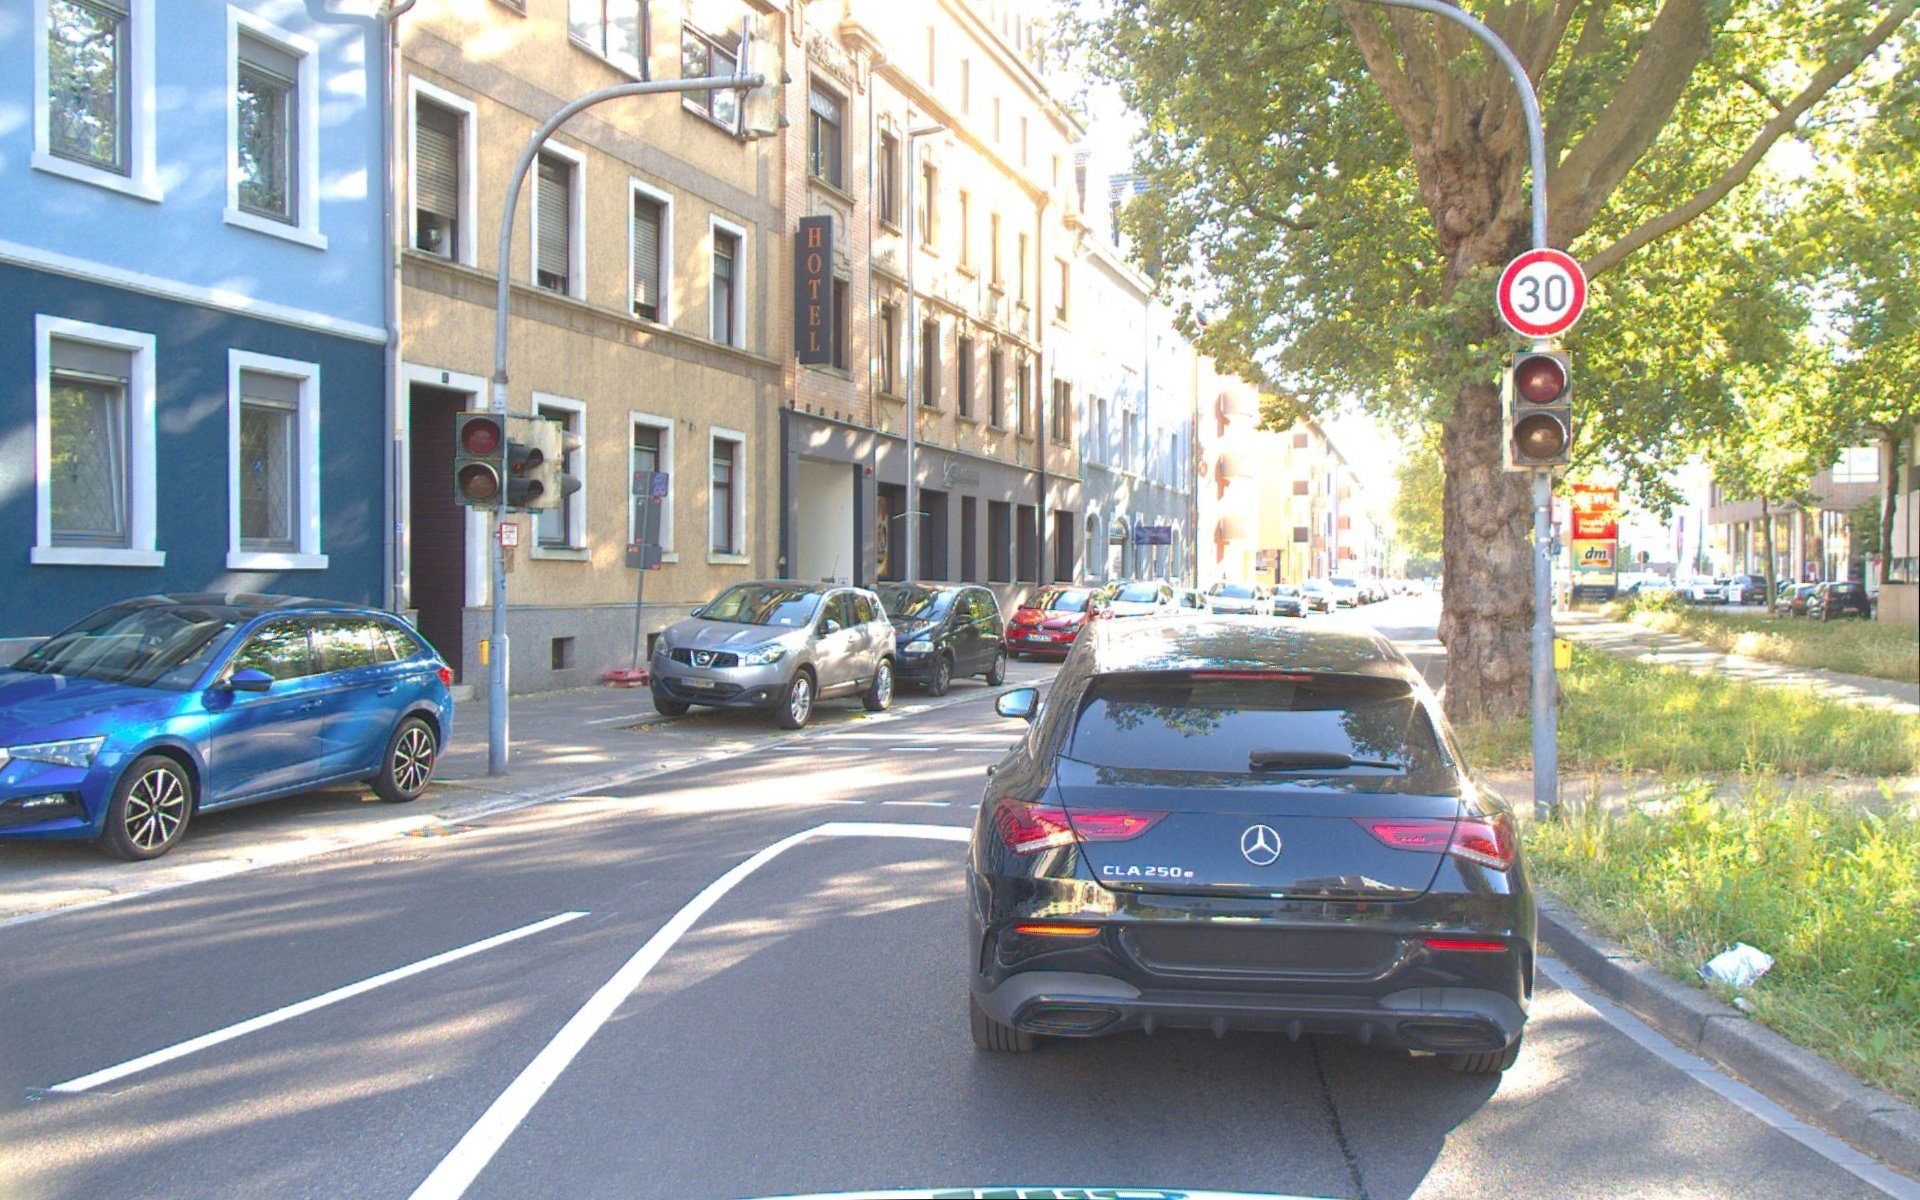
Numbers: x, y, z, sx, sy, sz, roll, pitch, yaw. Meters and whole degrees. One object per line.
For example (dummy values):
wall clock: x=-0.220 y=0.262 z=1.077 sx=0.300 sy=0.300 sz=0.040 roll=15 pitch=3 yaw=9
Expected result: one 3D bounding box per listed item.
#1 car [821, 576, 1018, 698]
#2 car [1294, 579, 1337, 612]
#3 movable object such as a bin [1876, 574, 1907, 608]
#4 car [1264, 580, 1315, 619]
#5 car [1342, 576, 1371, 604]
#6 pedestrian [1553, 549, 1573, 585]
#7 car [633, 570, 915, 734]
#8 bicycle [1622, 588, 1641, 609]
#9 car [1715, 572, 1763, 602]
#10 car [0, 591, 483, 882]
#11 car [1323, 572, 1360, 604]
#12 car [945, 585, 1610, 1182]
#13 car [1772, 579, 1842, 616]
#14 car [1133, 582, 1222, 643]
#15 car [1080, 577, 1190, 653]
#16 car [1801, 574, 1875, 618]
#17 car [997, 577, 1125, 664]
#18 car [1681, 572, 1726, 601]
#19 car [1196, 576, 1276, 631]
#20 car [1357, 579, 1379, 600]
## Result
car: x=-0.521 y=0.478 z=24.660 sx=1.643 sy=1.633 sz=3.706 roll=2 pitch=1 yaw=20
car: x=17.672 y=-0.262 z=82.132 sx=1.643 sy=1.550 sz=4.023 roll=2 pitch=1 yaw=18
movable object such as a bin: x=41.111 y=-0.389 z=73.037 sx=1.170 sy=1.488 sz=1.405 roll=0 pitch=1 yaw=29
car: x=13.881 y=-0.049 z=69.633 sx=1.643 sy=1.512 sz=3.603 roll=2 pitch=1 yaw=18
car: x=27.376 y=-0.693 z=114.205 sx=1.708 sy=1.818 sz=4.553 roll=2 pitch=1 yaw=16
pedestrian: x=30.402 y=-1.645 z=83.428 sx=0.751 sy=1.792 sz=0.664 roll=-2 pitch=0 yaw=7
car: x=-2.094 y=0.525 z=19.886 sx=1.744 sy=1.702 sz=4.158 roll=2 pitch=1 yaw=18
bicycle: x=32.598 y=-0.078 z=80.307 sx=0.375 sy=1.021 sz=1.487 roll=0 pitch=0 yaw=1
car: x=47.490 y=-0.787 z=100.901 sx=1.943 sy=1.764 sz=4.183 roll=0 pitch=1 yaw=16
car: x=-5.197 y=0.739 z=11.372 sx=1.615 sy=1.512 sz=4.265 roll=2 pitch=1 yaw=16
car: x=23.482 y=-0.760 z=101.624 sx=1.698 sy=1.940 sz=5.211 roll=1 pitch=1 yaw=18
car: x=1.058 y=0.724 z=6.382 sx=1.707 sy=1.468 sz=3.972 roll=2 pitch=1 yaw=7
car: x=35.317 y=-0.138 z=69.060 sx=1.819 sy=1.494 sz=4.127 roll=0 pitch=1 yaw=16
car: x=5.912 y=0.301 z=44.582 sx=1.643 sy=1.522 sz=3.873 roll=2 pitch=1 yaw=18
car: x=4.110 y=0.295 z=38.374 sx=1.643 sy=1.612 sz=4.202 roll=2 pitch=1 yaw=18
car: x=33.142 y=-0.168 z=62.537 sx=1.820 sy=1.580 sz=3.762 roll=0 pitch=1 yaw=18
car: x=2.121 y=0.358 z=33.741 sx=1.643 sy=1.620 sz=3.758 roll=2 pitch=1 yaw=18
car: x=45.689 y=-0.828 z=101.716 sx=1.836 sy=1.764 sz=4.184 roll=0 pitch=1 yaw=15
car: x=9.126 y=0.081 z=54.437 sx=1.868 sy=1.670 sz=4.579 roll=2 pitch=1 yaw=18
car: x=31.616 y=-0.823 z=128.138 sx=1.515 sy=1.550 sz=4.008 roll=2 pitch=1 yaw=16
